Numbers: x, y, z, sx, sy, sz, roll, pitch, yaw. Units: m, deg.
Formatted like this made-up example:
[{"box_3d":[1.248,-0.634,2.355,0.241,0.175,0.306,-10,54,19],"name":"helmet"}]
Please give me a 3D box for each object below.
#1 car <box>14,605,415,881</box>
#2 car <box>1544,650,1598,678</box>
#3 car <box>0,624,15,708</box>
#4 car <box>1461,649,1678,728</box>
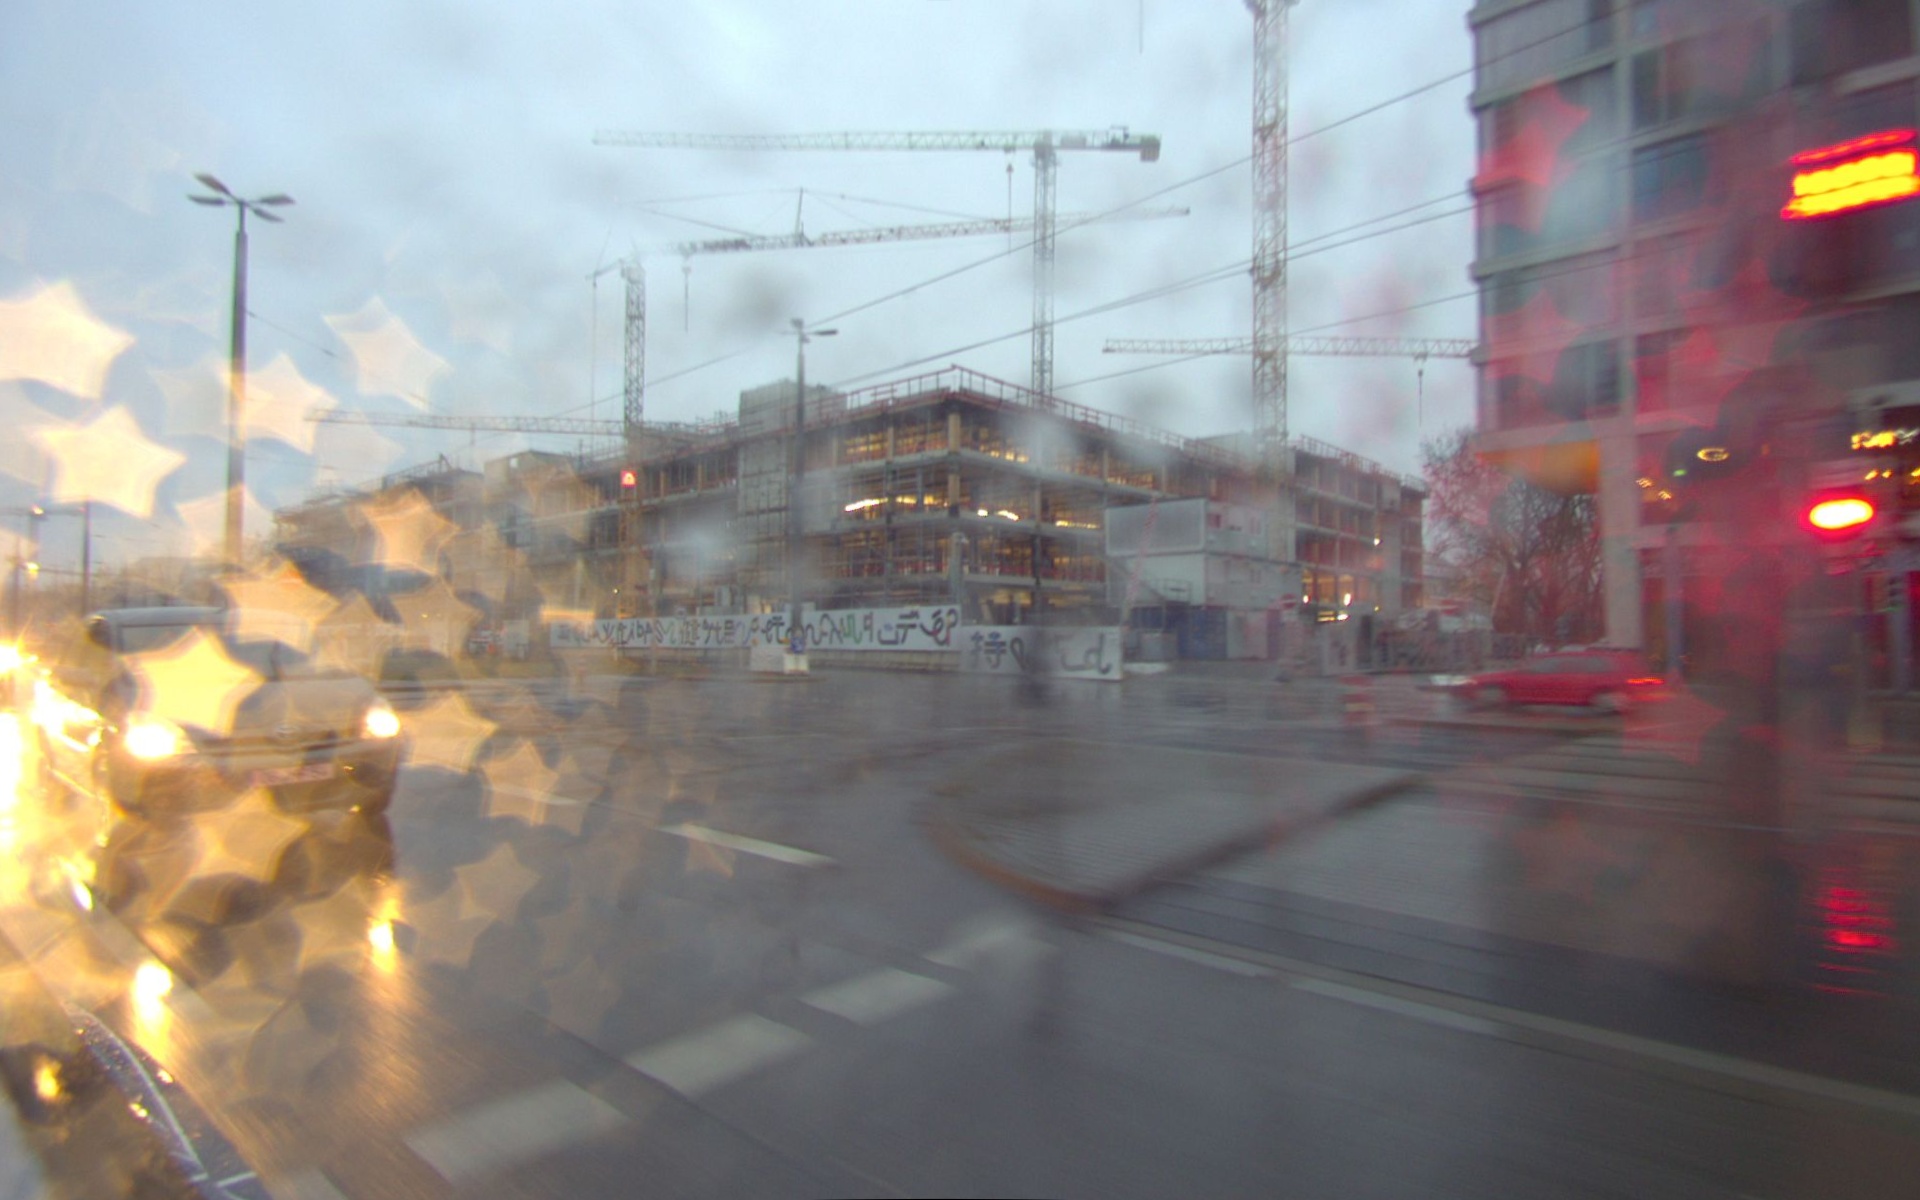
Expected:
[{"box_3d":[-5.946,0.882,7.897,3.999,1.606,1.741,-2,-2,42],"name":"car"},{"box_3d":[36.035,3.740,59.625,1.888,1.586,3.943,-2,-3,43],"name":"car"},{"box_3d":[-22.019,1.421,22.025,4.000,1.746,1.833,-2,-2,43],"name":"car"},{"box_3d":[14.135,1.976,23.601,4.001,1.586,1.860,-2,-2,44],"name":"car"}]
